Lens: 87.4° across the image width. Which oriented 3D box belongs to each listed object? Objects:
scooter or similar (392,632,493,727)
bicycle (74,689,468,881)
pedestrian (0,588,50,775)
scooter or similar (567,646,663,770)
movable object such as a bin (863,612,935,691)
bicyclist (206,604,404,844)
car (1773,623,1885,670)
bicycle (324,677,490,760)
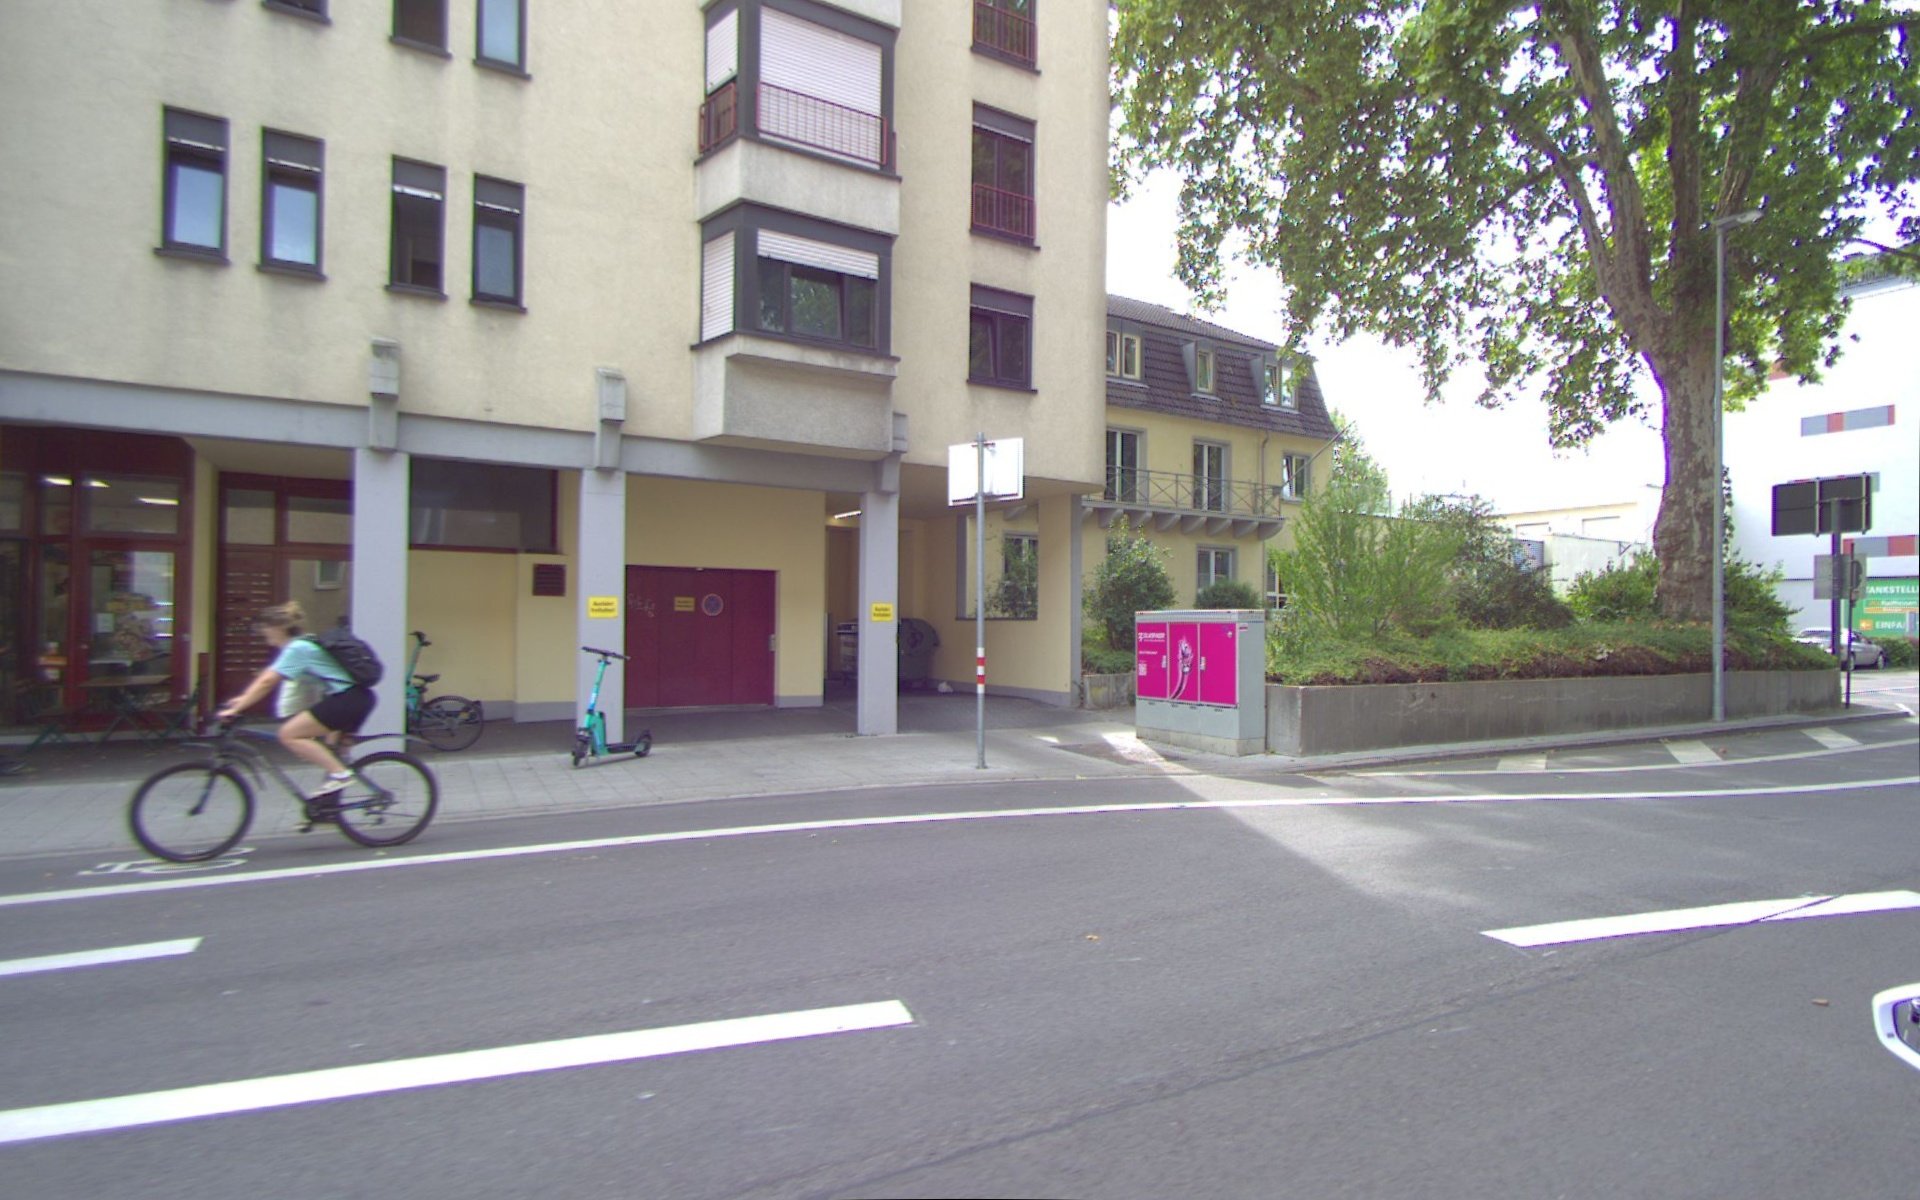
[{"bbox_3d":[-6.877,1.043,13.371,1.164,1.217,0.284,1,-1,-34],"label":"scooter or similar"},{"bbox_3d":[-4.644,1.211,7.009,2.167,1.020,0.735,0,1,-28],"label":"bicycle"},{"bbox_3d":[-9.459,0.772,9.766,0.775,1.781,0.578,1,1,-30],"label":"pedestrian"},{"bbox_3d":[-3.793,1.156,11.105,0.281,1.281,1.176,0,-1,23],"label":"scooter or similar"},{"bbox_3d":[-1.250,1.040,20.573,1.054,1.561,1.136,1,-2,-32],"label":"movable object such as a bin"},{"bbox_3d":[-4.533,0.806,7.034,1.062,1.546,0.655,0,1,-26],"label":"bicyclist"},{"bbox_3d":[30.973,1.627,35.771,4.184,1.539,1.749,1,0,-30],"label":"car"},{"bbox_3d":[-6.177,1.311,11.283,1.600,0.832,0.427,1,-1,-30],"label":"bicycle"}]
